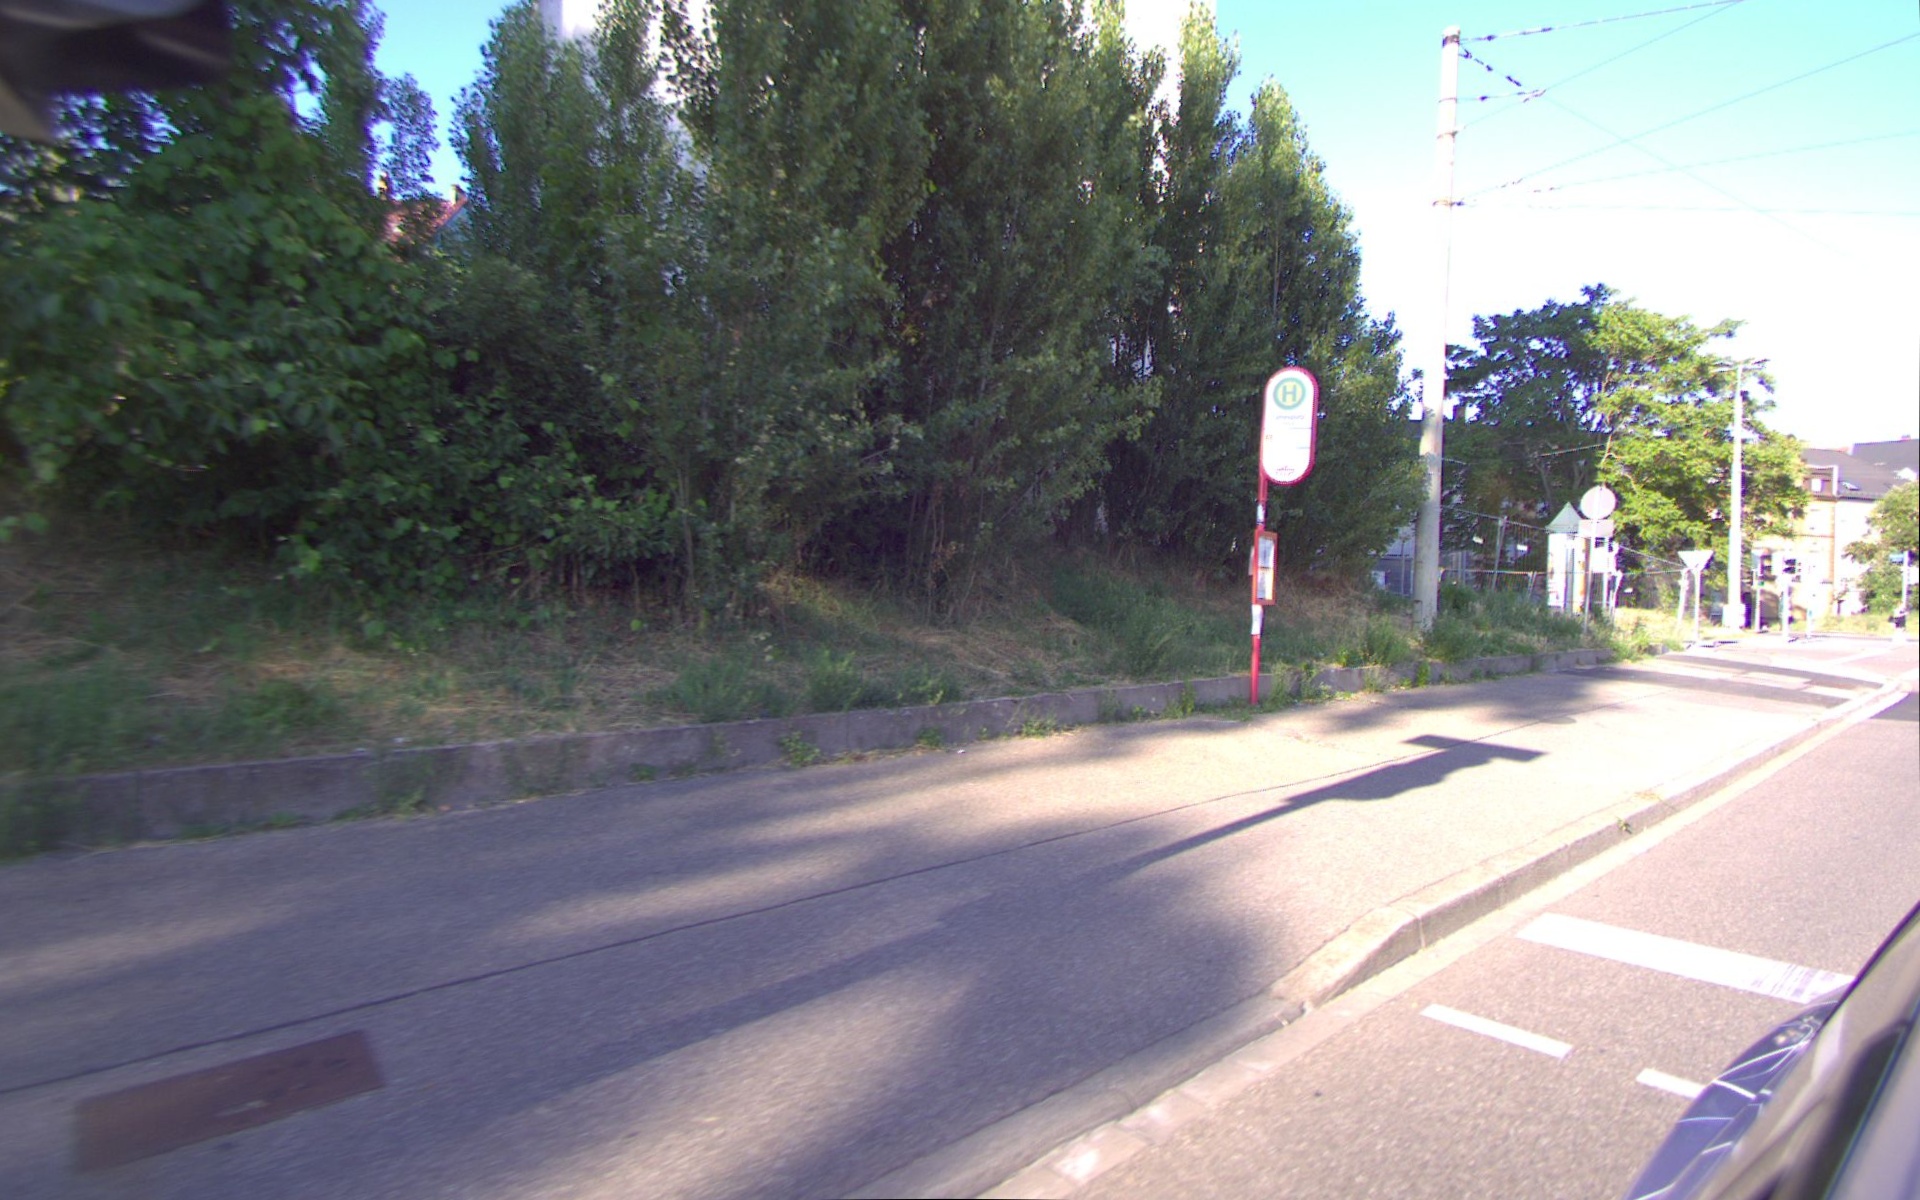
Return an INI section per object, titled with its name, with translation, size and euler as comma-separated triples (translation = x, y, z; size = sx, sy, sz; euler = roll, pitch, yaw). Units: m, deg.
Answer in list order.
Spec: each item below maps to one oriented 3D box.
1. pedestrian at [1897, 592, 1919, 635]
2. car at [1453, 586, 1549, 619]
[pedestrian]
translation = 36.392, 0.512, 38.683
size = 0.535, 1.615, 0.595
euler = 1, 0, -6
[car]
translation = 28.276, 0.102, 52.921
size = 4.299, 1.567, 1.799
euler = 2, 1, 32
